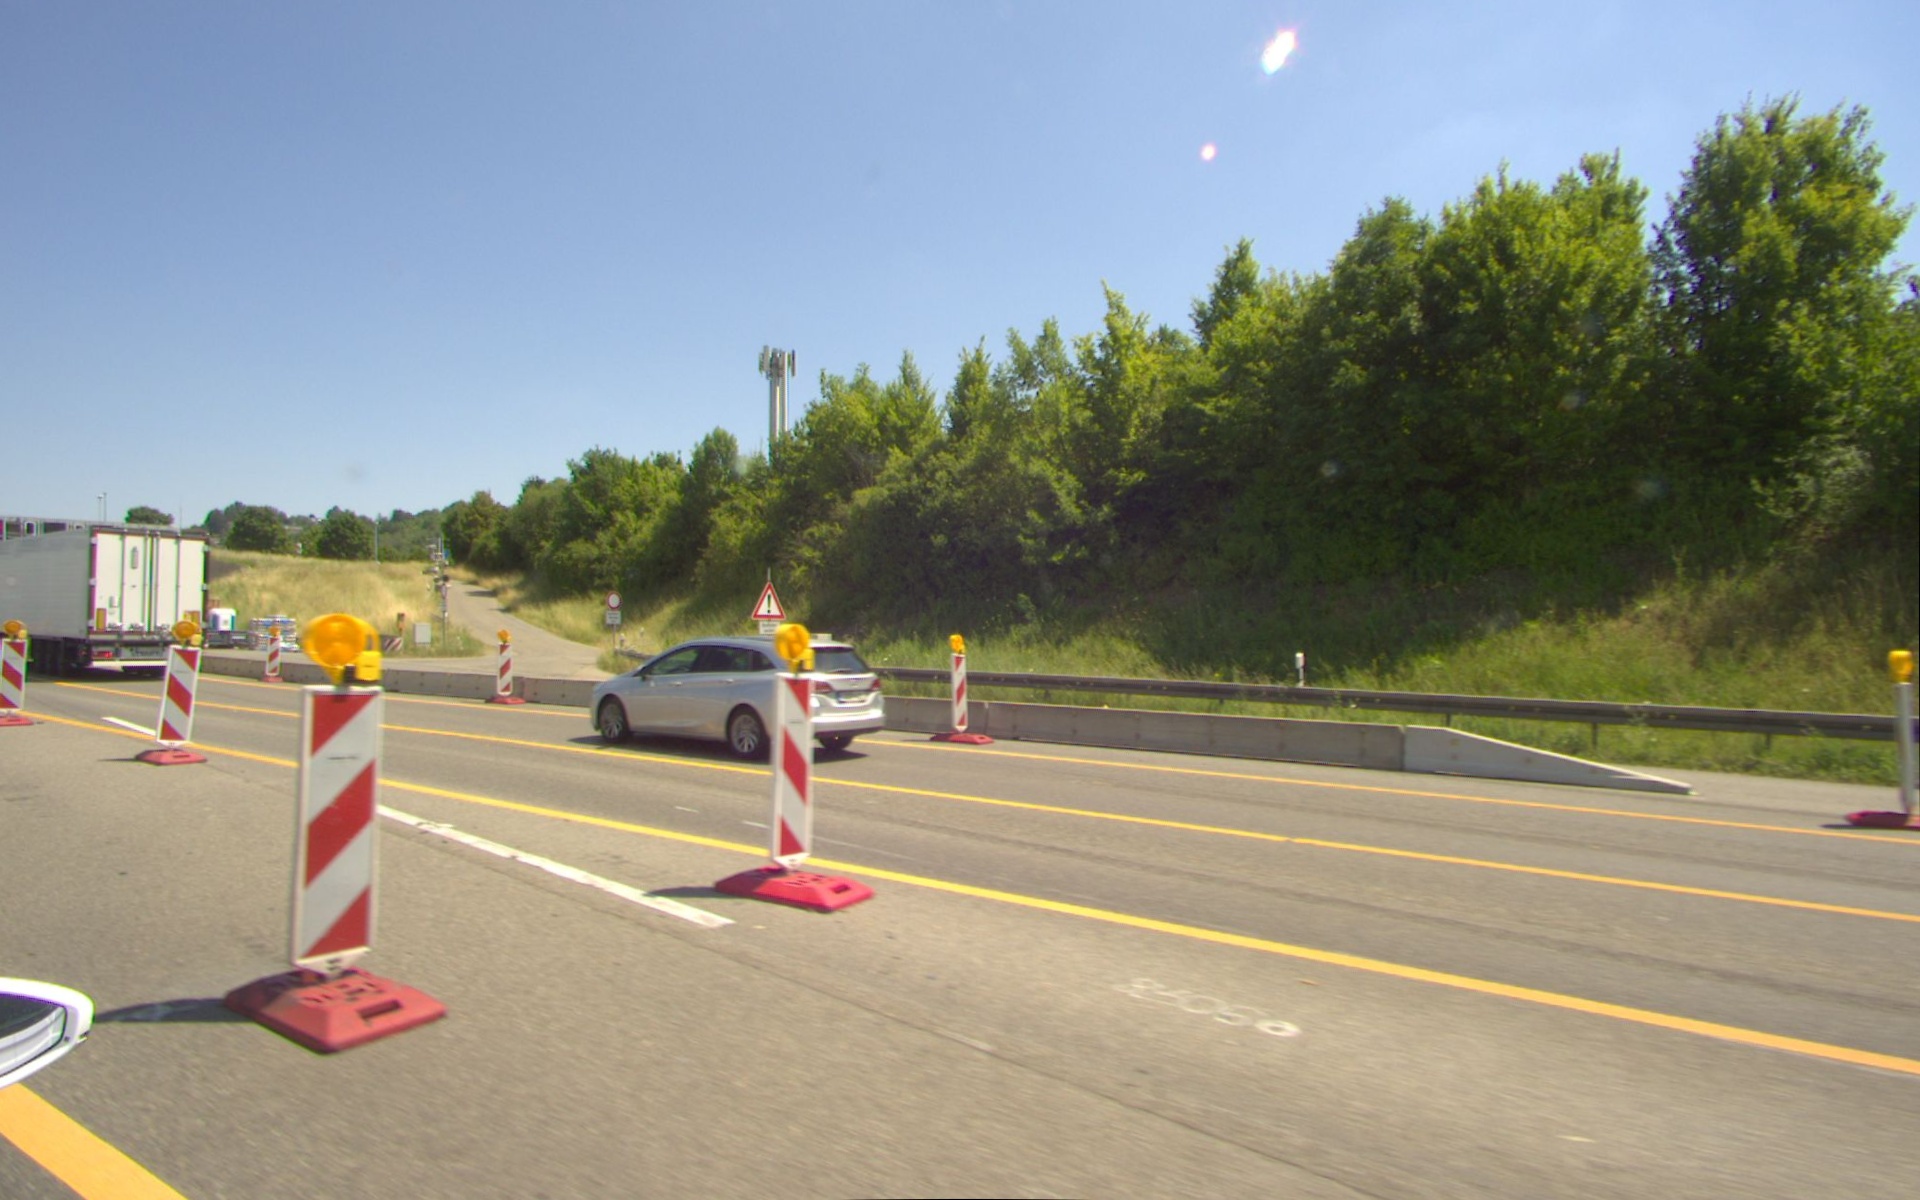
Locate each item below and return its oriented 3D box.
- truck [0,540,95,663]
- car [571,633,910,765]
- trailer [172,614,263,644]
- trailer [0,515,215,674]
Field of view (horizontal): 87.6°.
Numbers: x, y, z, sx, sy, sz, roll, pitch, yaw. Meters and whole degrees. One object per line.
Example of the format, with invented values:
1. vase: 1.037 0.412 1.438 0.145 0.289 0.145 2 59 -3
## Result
1. truck: -33.569 0.121 35.747 5.848 4.084 2.738 -1 -2 36
2. car: -3.036 1.201 13.441 4.589 1.483 1.811 -1 -2 35
3. trailer: -44.336 1.681 59.741 6.153 1.590 2.586 0 1 36
4. trailer: -27.439 0.006 31.242 13.910 4.113 2.725 -1 -2 36
